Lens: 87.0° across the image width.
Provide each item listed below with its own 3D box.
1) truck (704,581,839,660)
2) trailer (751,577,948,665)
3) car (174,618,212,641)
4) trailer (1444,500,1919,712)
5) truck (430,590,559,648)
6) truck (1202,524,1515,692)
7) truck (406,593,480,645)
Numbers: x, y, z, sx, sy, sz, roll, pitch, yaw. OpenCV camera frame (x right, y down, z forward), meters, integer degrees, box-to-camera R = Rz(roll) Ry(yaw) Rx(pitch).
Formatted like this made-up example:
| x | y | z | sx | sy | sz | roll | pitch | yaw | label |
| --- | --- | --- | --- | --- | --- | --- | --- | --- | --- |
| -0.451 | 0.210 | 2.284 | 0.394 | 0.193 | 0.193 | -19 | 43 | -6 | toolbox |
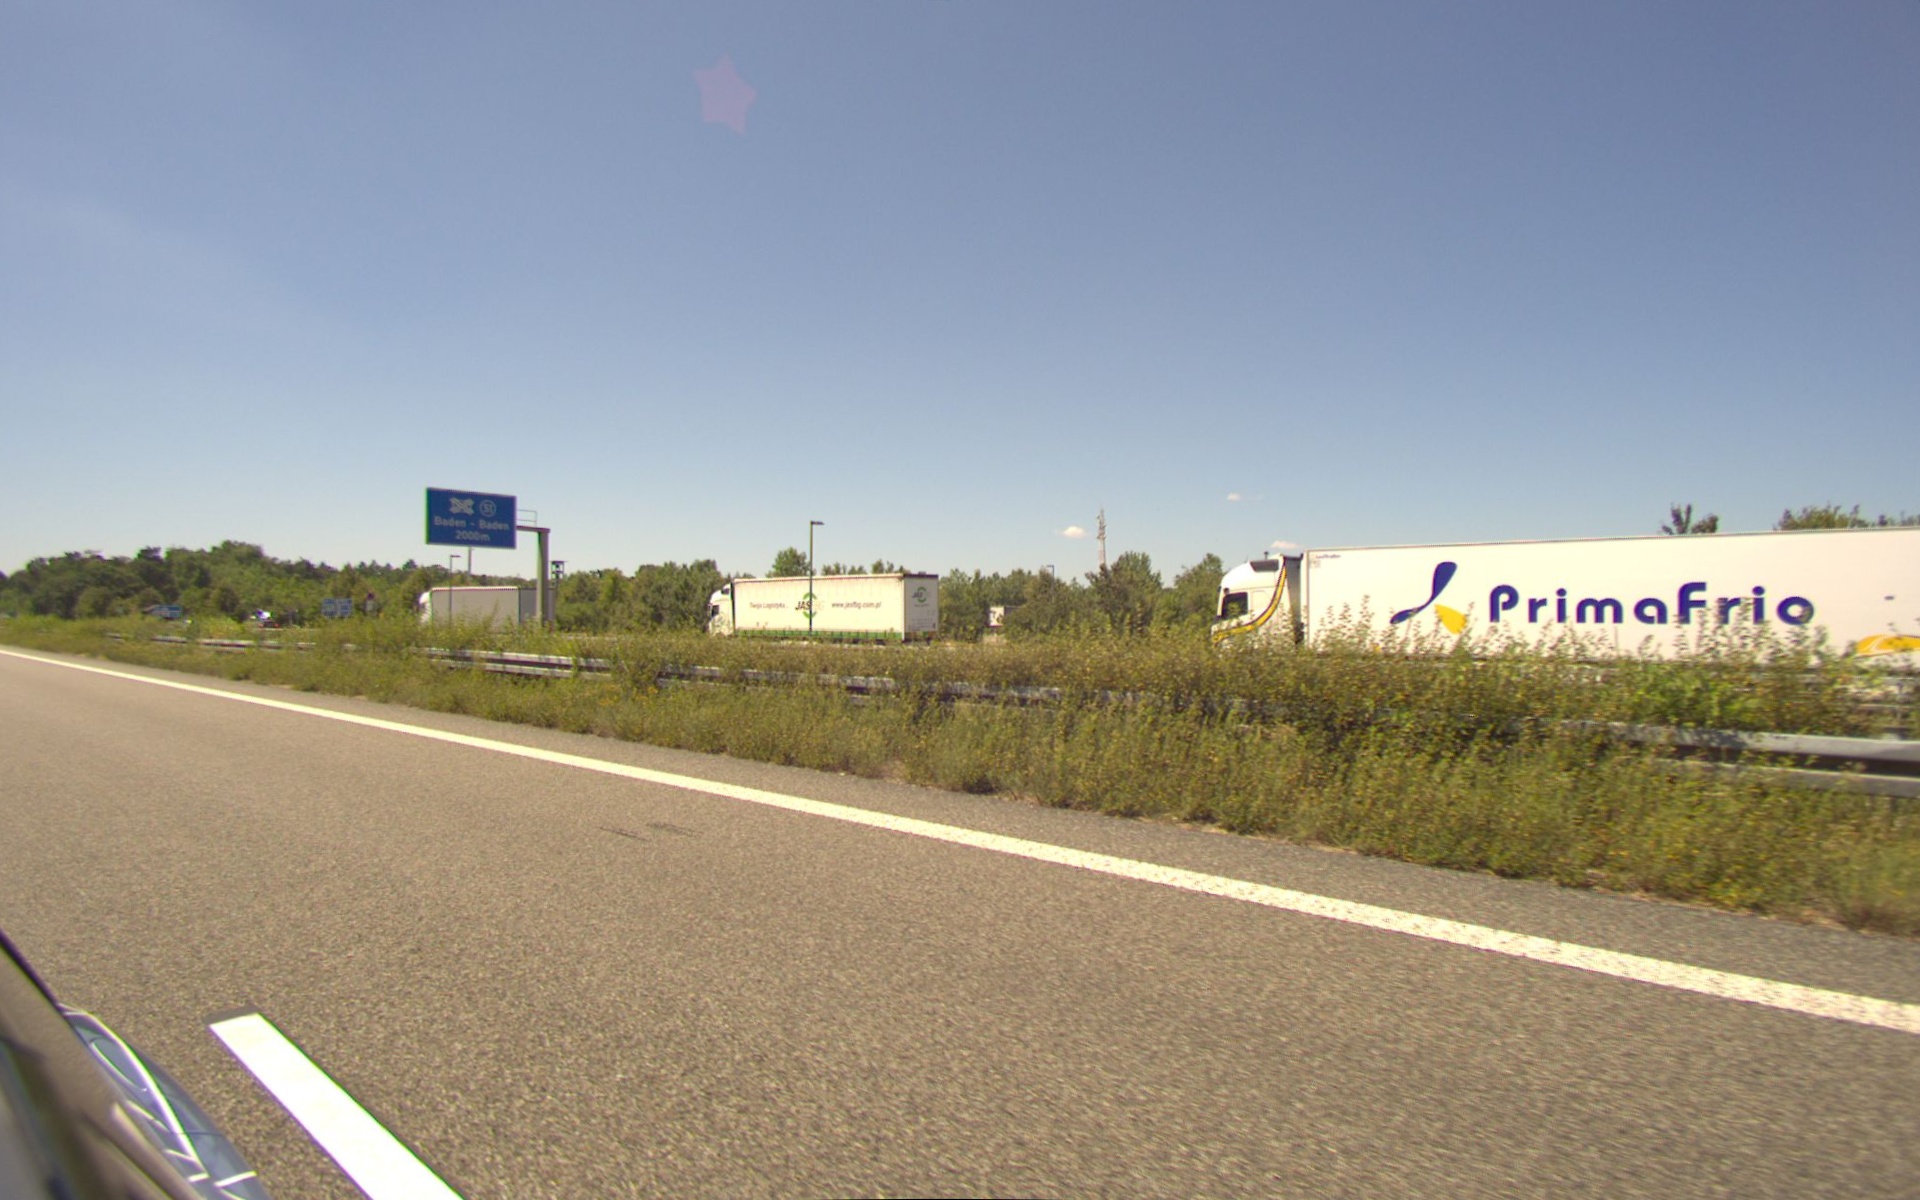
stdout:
| x | y | z | sx | sy | sz | roll | pitch | yaw | label |
| --- | --- | --- | --- | --- | --- | --- | --- | --- | --- |
| -10.824 | 1.138 | 57.483 | 8.314 | 4.183 | 3.062 | -1 | 0 | 42 | truck |
| -6.067 | 1.058 | 53.113 | 12.008 | 4.187 | 3.061 | -1 | 0 | 42 | trailer |
| -63.191 | 2.406 | 83.311 | 4.406 | 1.760 | 1.633 | -1 | 0 | 41 | car |
| 17.306 | 0.148 | 23.643 | 10.509 | 4.250 | 2.572 | -1 | 0 | 41 | trailer |
| -32.274 | 1.278 | 69.711 | 13.600 | 3.671 | 2.770 | -1 | 0 | 41 | truck |
| 11.180 | 0.244 | 29.041 | 7.932 | 4.220 | 2.554 | -1 | -1 | 41 | truck |
| -38.391 | 1.395 | 75.101 | 6.144 | 3.671 | 2.770 | -1 | 0 | 41 | truck |
